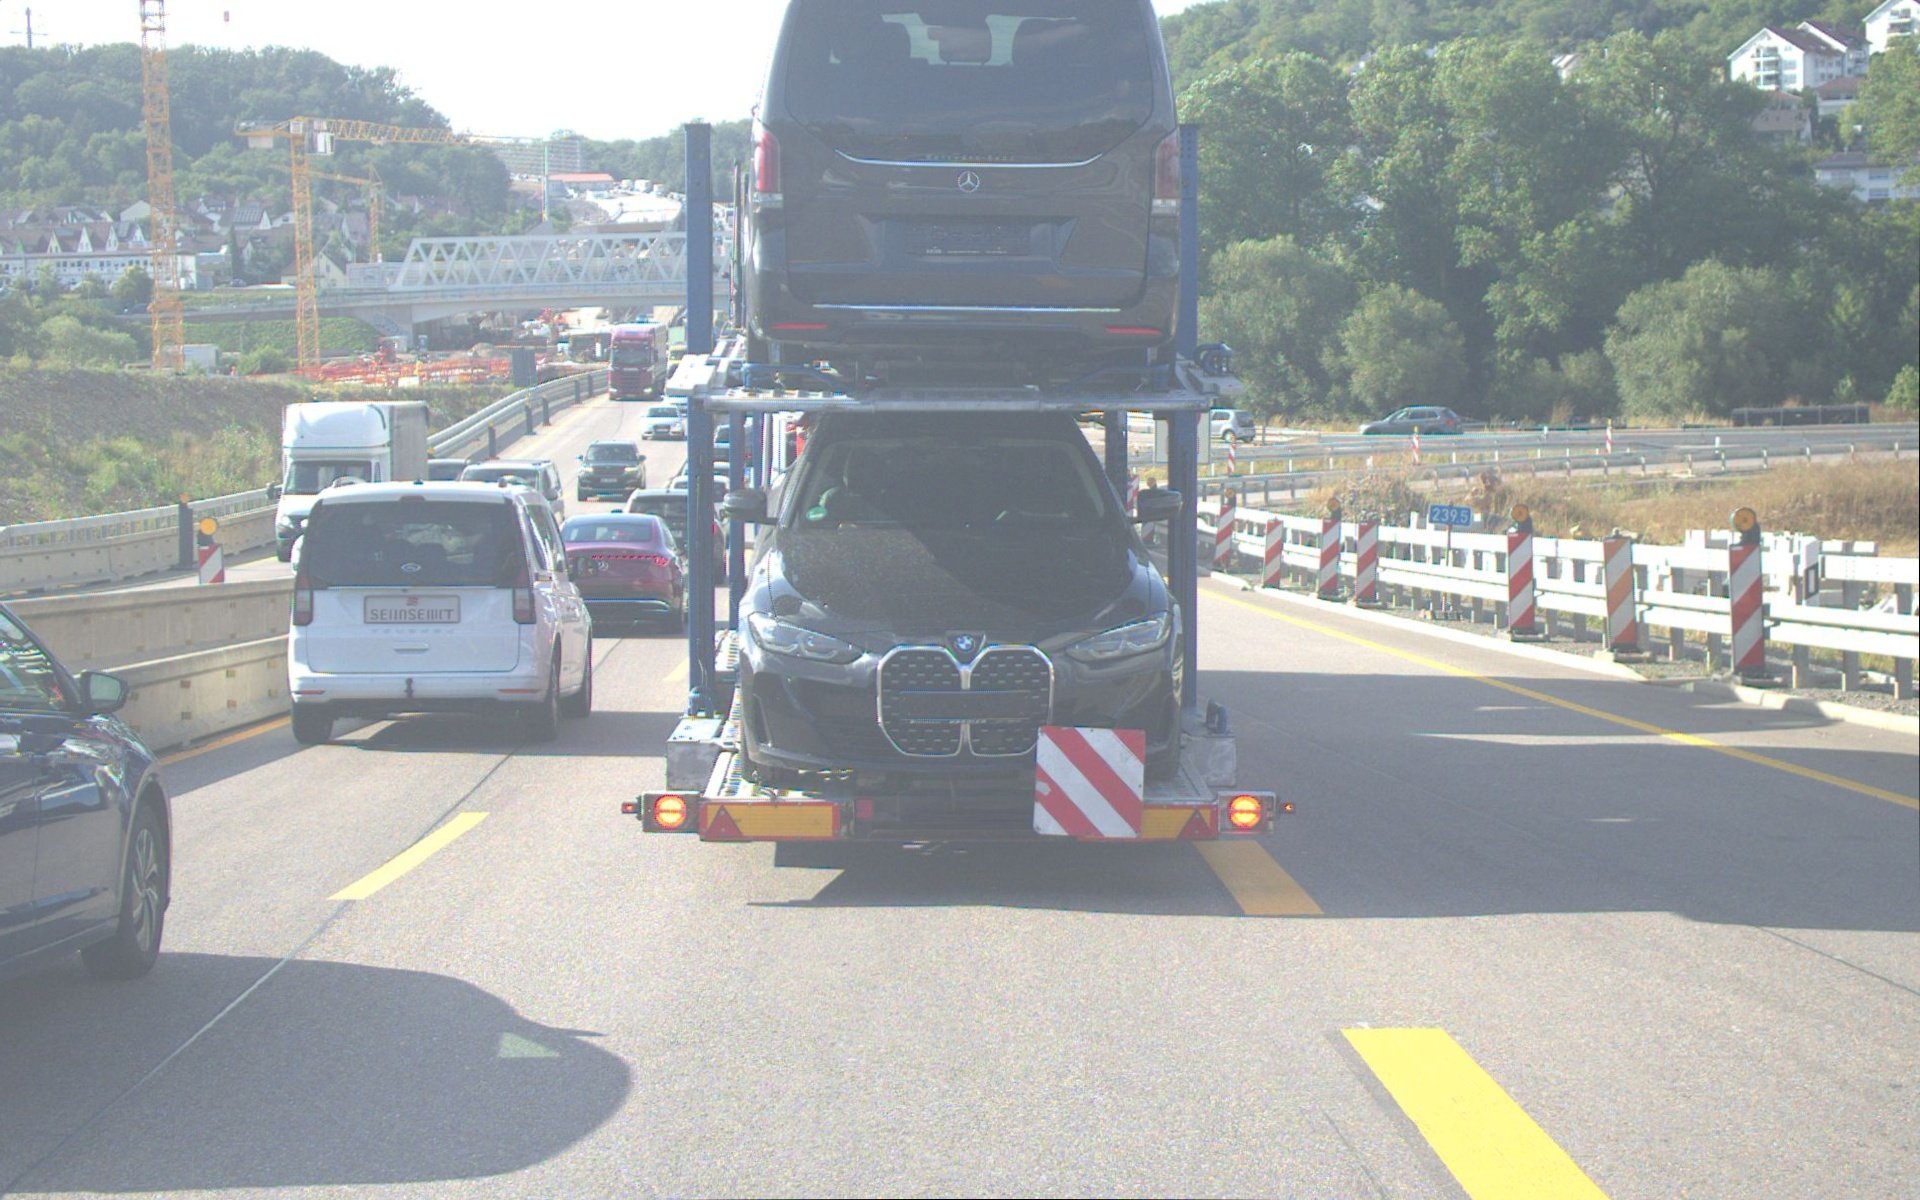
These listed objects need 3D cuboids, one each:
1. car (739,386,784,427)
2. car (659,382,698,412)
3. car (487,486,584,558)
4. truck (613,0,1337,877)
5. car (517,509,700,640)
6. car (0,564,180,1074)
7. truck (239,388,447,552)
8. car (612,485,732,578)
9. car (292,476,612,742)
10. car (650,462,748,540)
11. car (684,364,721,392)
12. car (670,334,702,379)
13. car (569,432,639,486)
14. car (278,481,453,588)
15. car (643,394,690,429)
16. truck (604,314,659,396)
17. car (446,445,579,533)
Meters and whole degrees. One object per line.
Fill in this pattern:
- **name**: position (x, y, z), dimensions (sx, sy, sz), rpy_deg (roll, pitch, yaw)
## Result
- **car**: position (-8.577, -8.321, 148.205), dimensions (1.844, 1.642, 4.506), rpy_deg (0, 2, -4)
- **car**: position (-14.098, -10.166, 172.276), dimensions (1.754, 1.435, 3.805), rpy_deg (0, 2, -2)
- **car**: position (-10.917, -1.980, 88.660), dimensions (1.993, 1.798, 4.445), rpy_deg (0, 1, 0)
- **truck**: position (-0.156, -1.054, 22.823), dimensions (2.753, 3.941, 18.891), rpy_deg (1, 1, -1)
- **car**: position (-4.342, -0.329, 43.017), dimensions (1.993, 1.551, 4.401), rpy_deg (0, 1, -2)
- **car**: position (-3.556, 0.611, 10.240), dimensions (1.722, 1.417, 4.000), rpy_deg (0, 0, -3)
- **truck**: position (-13.101, -2.702, 73.628), dimensions (2.701, 3.300, 7.536), rpy_deg (0, 1, 3)
- **car**: position (-4.972, -1.162, 59.361), dimensions (1.993, 1.547, 4.001), rpy_deg (0, 1, -5)
- **car**: position (-3.611, 0.040, 25.076), dimensions (1.823, 1.786, 4.000), rpy_deg (0, 1, -1)
- **car**: position (-5.810, -2.187, 76.936), dimensions (1.993, 1.660, 4.000), rpy_deg (0, 1, -1)
- **car**: position (-14.440, -12.415, 192.641), dimensions (1.821, 1.435, 4.614), rpy_deg (0, 2, -1)
- **car**: position (-19.668, -17.501, 247.033), dimensions (1.993, 2.870, 6.064), rpy_deg (0, 1, -1)
- **car**: position (-10.991, -4.334, 106.267), dimensions (1.852, 1.630, 4.749), rpy_deg (0, 2, -2)
- **car**: position (-9.638, -1.102, 56.024), dimensions (2.125, 1.668, 4.273), rpy_deg (0, 2, 0)
- **car**: position (-12.857, -8.266, 150.963), dimensions (1.852, 1.435, 4.559), rpy_deg (0, 2, -2)
- **truck**: position (-18.454, -13.743, 193.416), dimensions (2.914, 4.372, 6.288), rpy_deg (1, 2, -5)
- **car**: position (-9.207, -2.304, 71.104), dimensions (2.125, 1.759, 5.031), rpy_deg (0, 2, 0)
